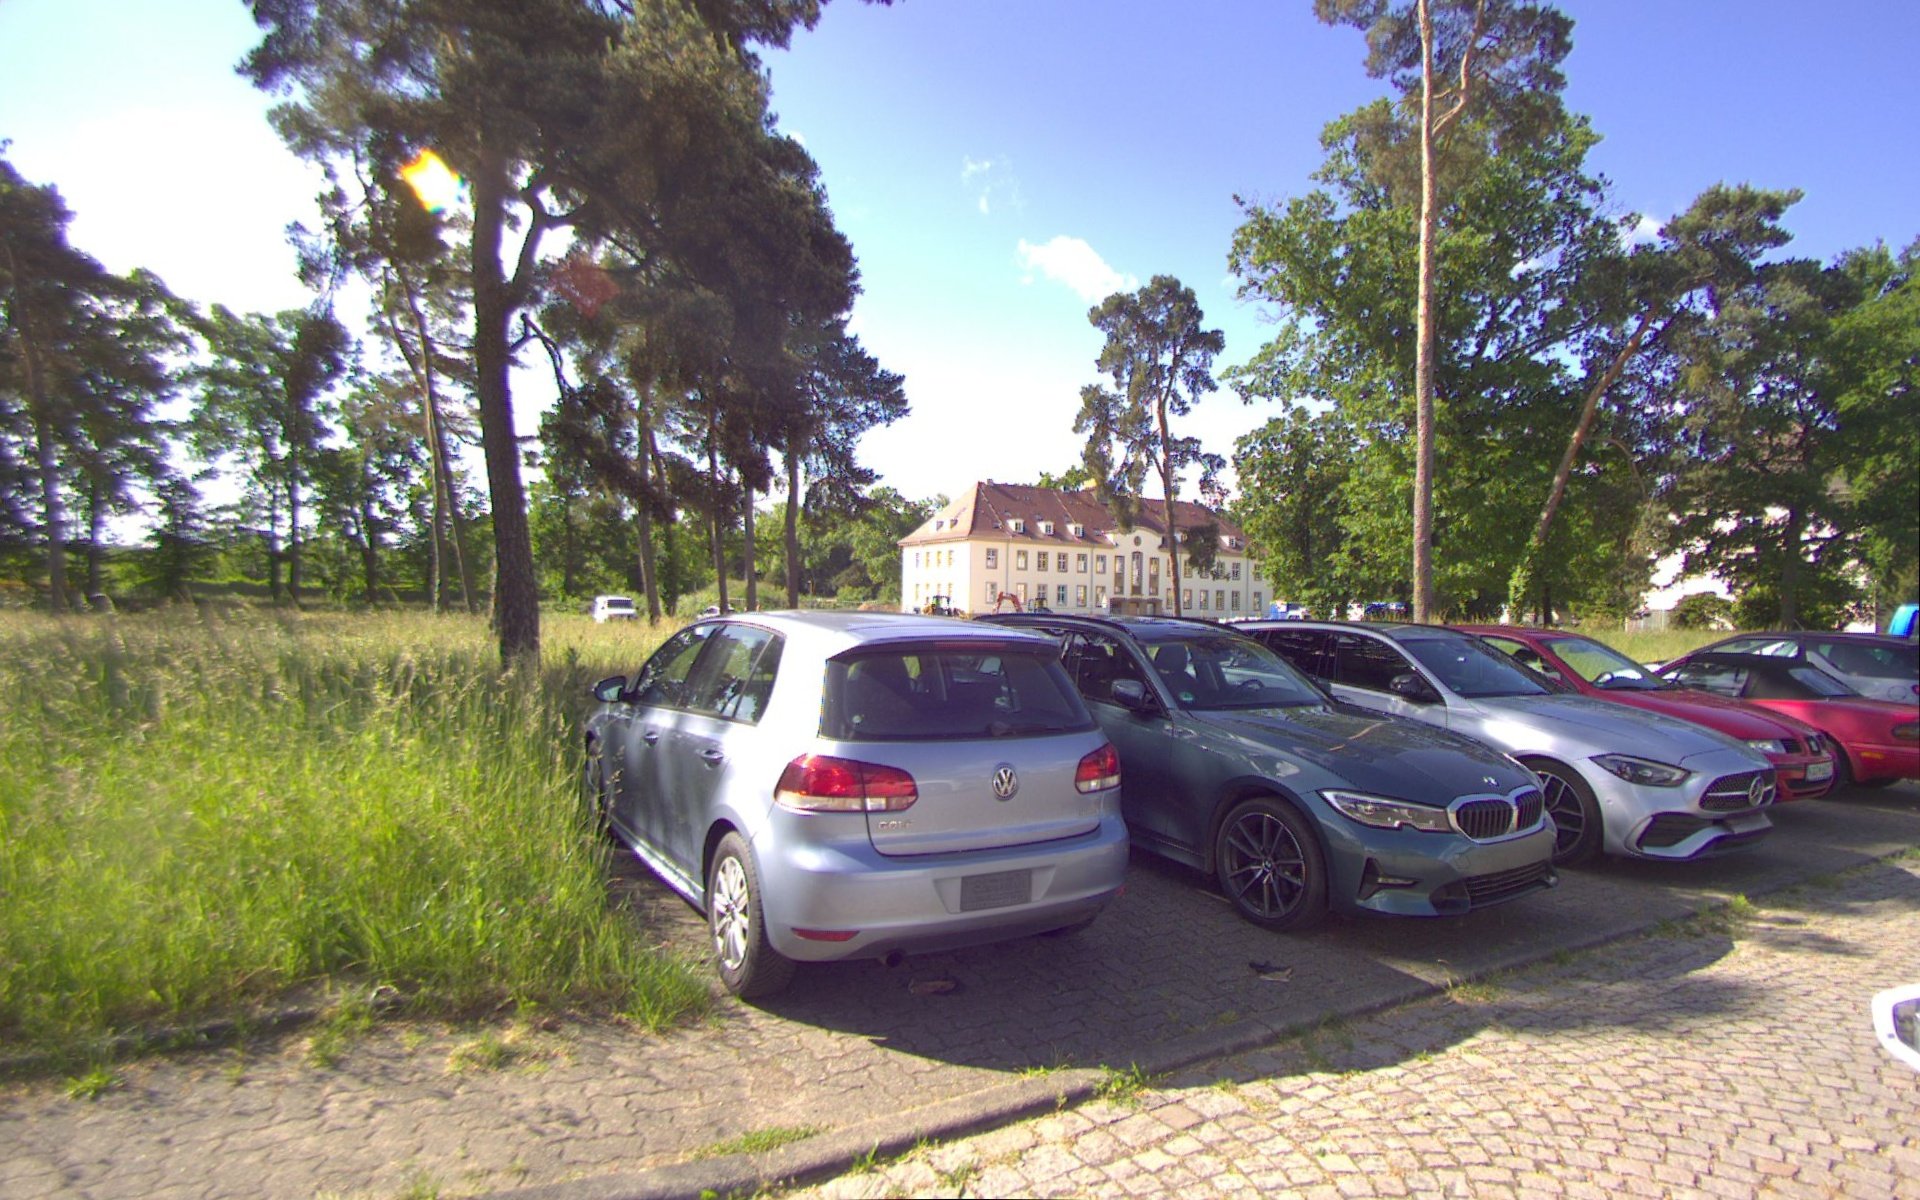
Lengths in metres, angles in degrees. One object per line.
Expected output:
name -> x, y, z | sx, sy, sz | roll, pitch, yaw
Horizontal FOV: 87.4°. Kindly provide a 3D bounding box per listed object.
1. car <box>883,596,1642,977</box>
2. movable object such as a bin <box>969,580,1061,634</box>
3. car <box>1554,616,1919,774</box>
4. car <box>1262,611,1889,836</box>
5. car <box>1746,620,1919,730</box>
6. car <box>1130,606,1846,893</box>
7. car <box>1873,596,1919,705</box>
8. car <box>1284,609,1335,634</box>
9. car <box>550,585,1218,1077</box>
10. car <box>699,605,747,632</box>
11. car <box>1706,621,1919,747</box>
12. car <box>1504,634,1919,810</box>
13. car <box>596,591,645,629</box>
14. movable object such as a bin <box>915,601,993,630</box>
car -> 1.480, 0.794, 6.604 | 1.964, 1.471, 4.552 | 2, 0, -34
movable object such as a bin -> 4.195, 0.561, 75.127 | 3.866, 3.780, 6.770 | 0, -1, 35
car -> 9.749, 1.031, 12.129 | 1.800, 1.471, 4.058 | 2, 0, -29
car -> 5.454, 0.923, 9.724 | 1.916, 1.440, 4.841 | 2, 1, -30
car -> 14.655, 1.144, 15.031 | 1.803, 1.495, 4.175 | 1, 1, -31
car -> 3.699, 0.877, 8.135 | 1.916, 1.440, 4.841 | 2, 0, -30
car -> 19.303, 1.010, 17.435 | 1.982, 1.994, 4.693 | 2, 1, -31
car -> 35.275, 2.168, 101.441 | 5.215, 2.469, 1.974 | 2, -1, -31
car -> -0.804, 0.714, 5.383 | 1.927, 1.503, 4.004 | 1, 1, -32
car -> -15.257, 1.163, 64.468 | 1.890, 1.626, 4.209 | 1, -1, -29
car -> 12.499, 1.096, 13.072 | 1.900, 1.444, 4.058 | 1, 1, -29
car -> 7.805, 1.086, 10.220 | 1.739, 1.250, 3.613 | 2, 0, -29
car -> -20.638, 0.600, 60.889 | 1.934, 2.193, 4.824 | 1, -1, -29
movable object such as a bin -> -0.474, 1.177, 78.336 | 5.565, 2.154, 2.530 | 1, -1, 15
